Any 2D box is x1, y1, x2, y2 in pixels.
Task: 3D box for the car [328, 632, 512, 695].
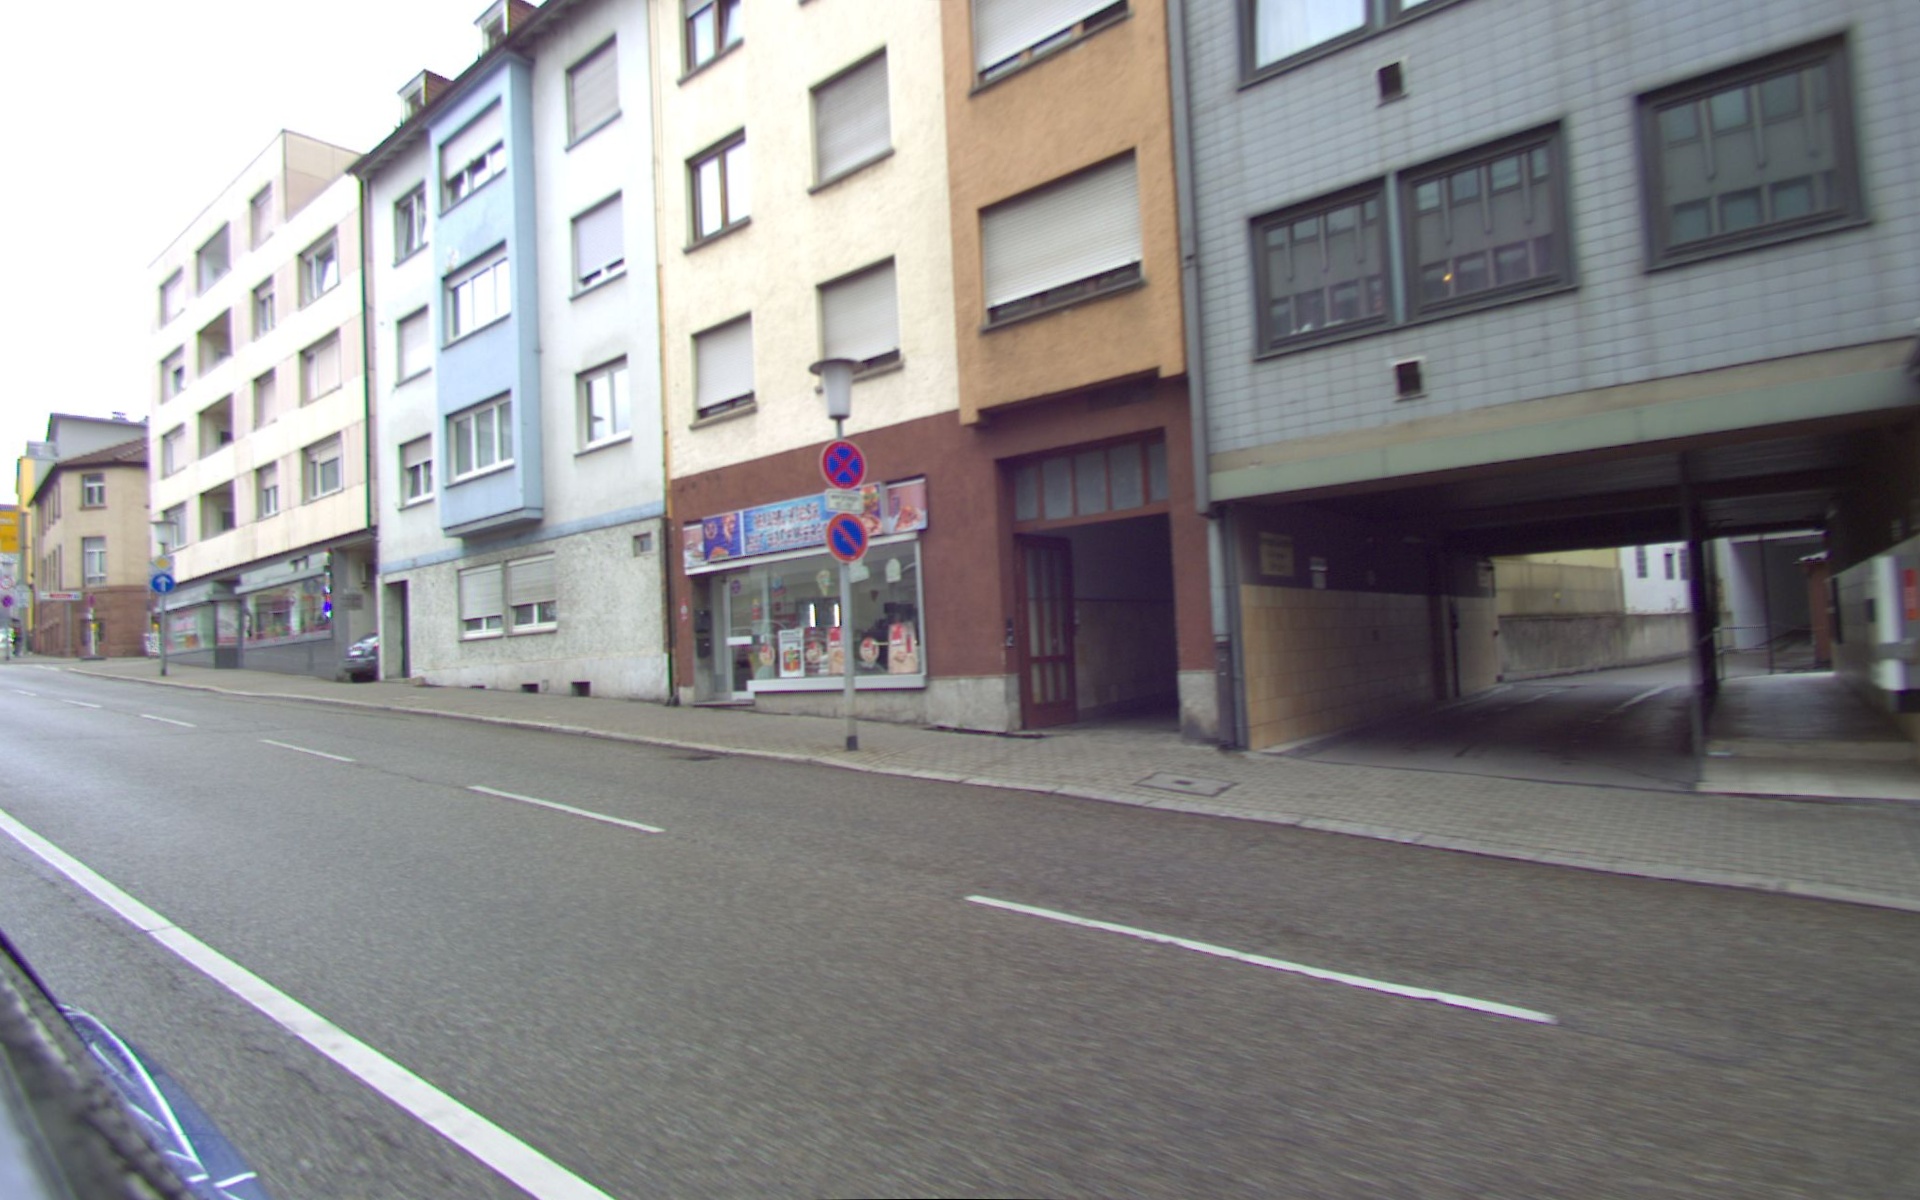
[{"bbox_3d":[-14.263,1.760,26.962,1.673,1.361,3.956,-4,-9,31],"label":"car"}]
